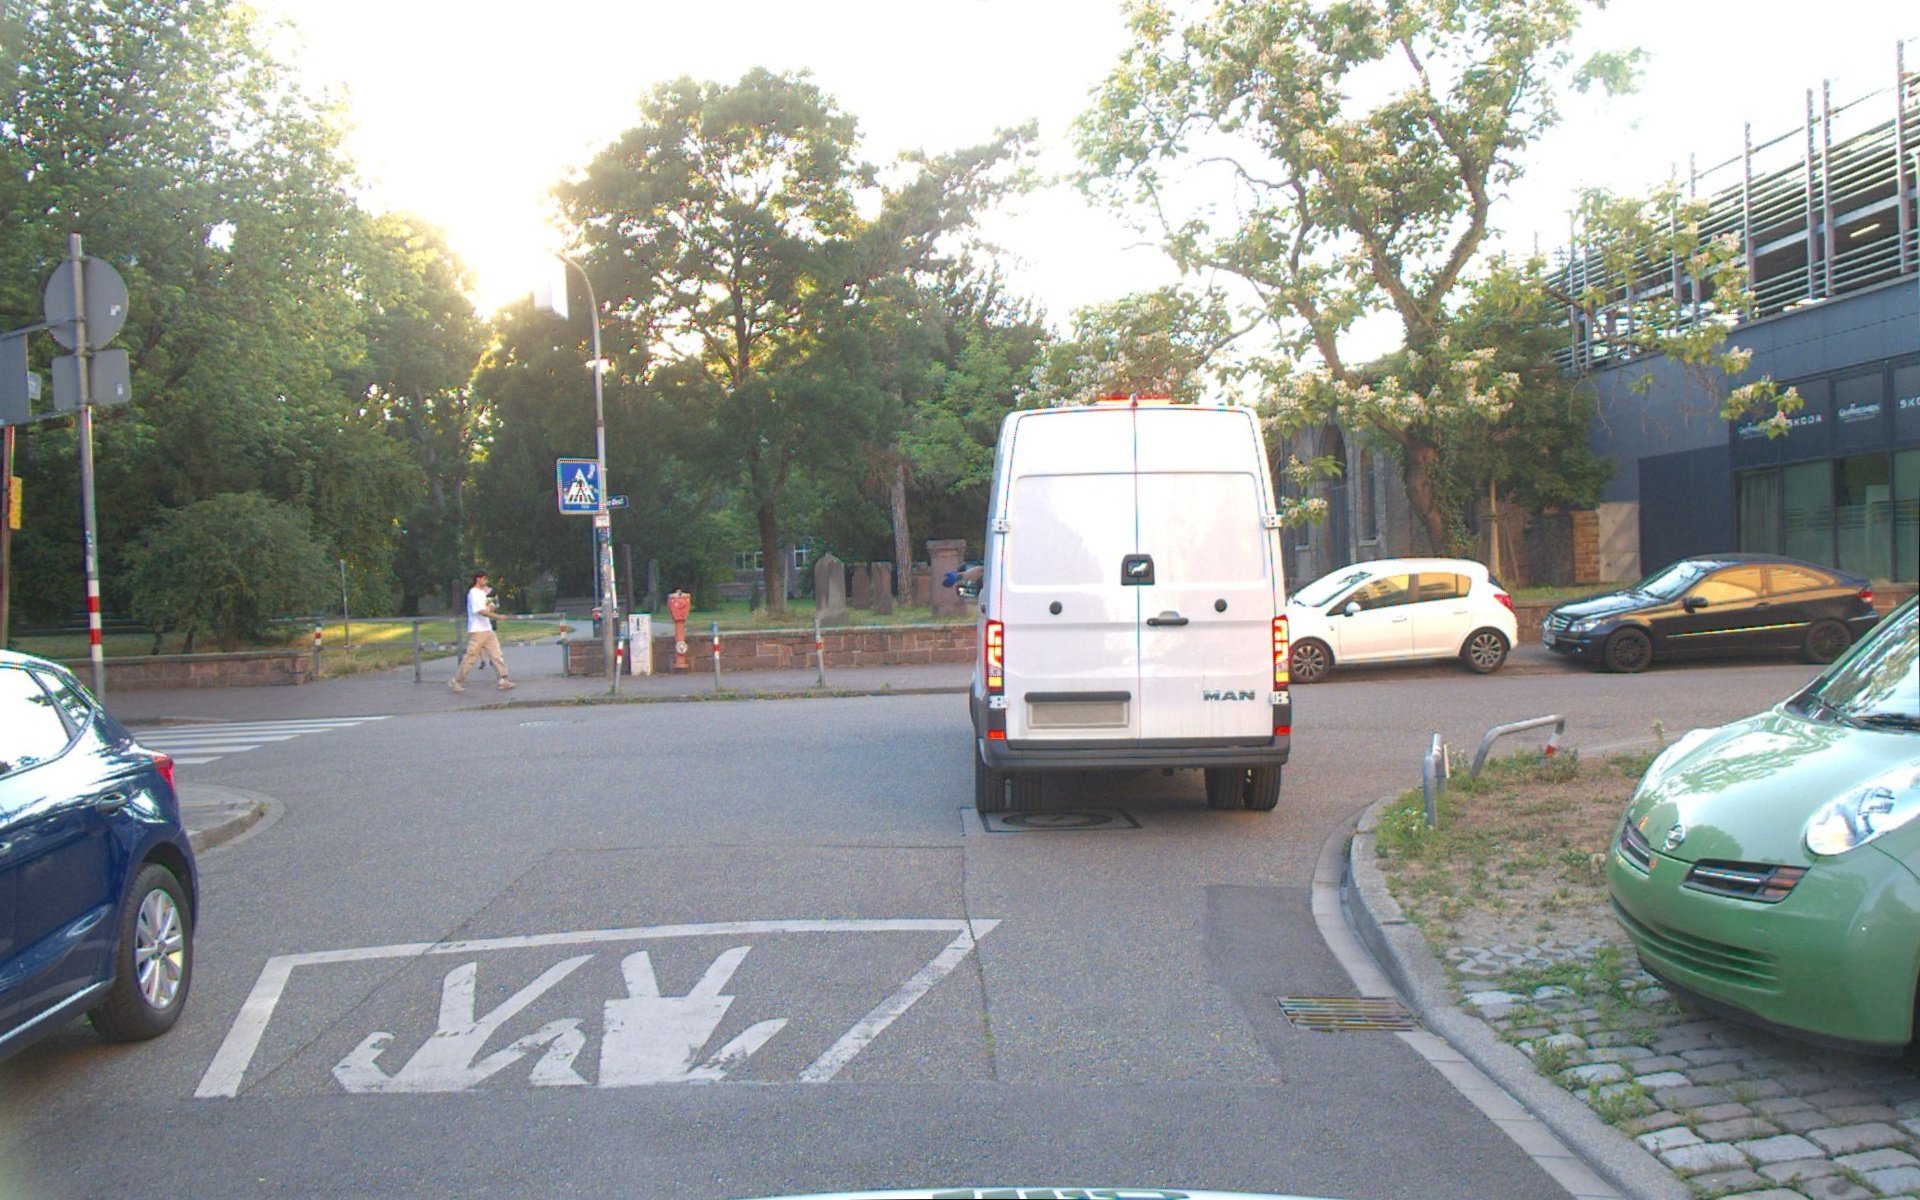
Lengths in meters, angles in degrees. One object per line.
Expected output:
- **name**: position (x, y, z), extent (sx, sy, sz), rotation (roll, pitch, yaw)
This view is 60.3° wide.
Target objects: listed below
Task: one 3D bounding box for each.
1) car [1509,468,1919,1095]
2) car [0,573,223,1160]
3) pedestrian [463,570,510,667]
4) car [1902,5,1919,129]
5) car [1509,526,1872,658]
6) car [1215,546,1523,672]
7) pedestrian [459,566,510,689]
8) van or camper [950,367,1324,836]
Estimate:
- **car**: position (4.343, 0.389, 5.528), extent (4.318, 1.660, 1.844), rotation (-3, -1, -5)
- **car**: position (-3.484, 0.773, 4.341), extent (1.701, 1.594, 3.785), rotation (-3, 1, -7)
- **pedestrian**: position (-8.343, 0.317, 29.160), extent (0.633, 1.677, 0.673), rotation (0, 1, -2)
- **car**: position (18.020, -9.586, 28.043), extent (1.952, 2.049, 4.002), rotation (-1, 0, 3)
- **car**: position (10.053, -0.118, 23.008), extent (4.204, 1.529, 1.824), rotation (-3, 1, 2)
- **car**: position (5.671, 0.097, 23.237), extent (3.779, 1.601, 1.957), rotation (-1, 1, -4)
- **pedestrian**: position (-7.262, 0.413, 25.298), extent (0.581, 1.840, 0.620), rotation (-1, 1, -1)
- **van or camper**: position (1.019, 0.009, 12.867), extent (1.953, 2.664, 6.400), rotation (2, 0, -2)
